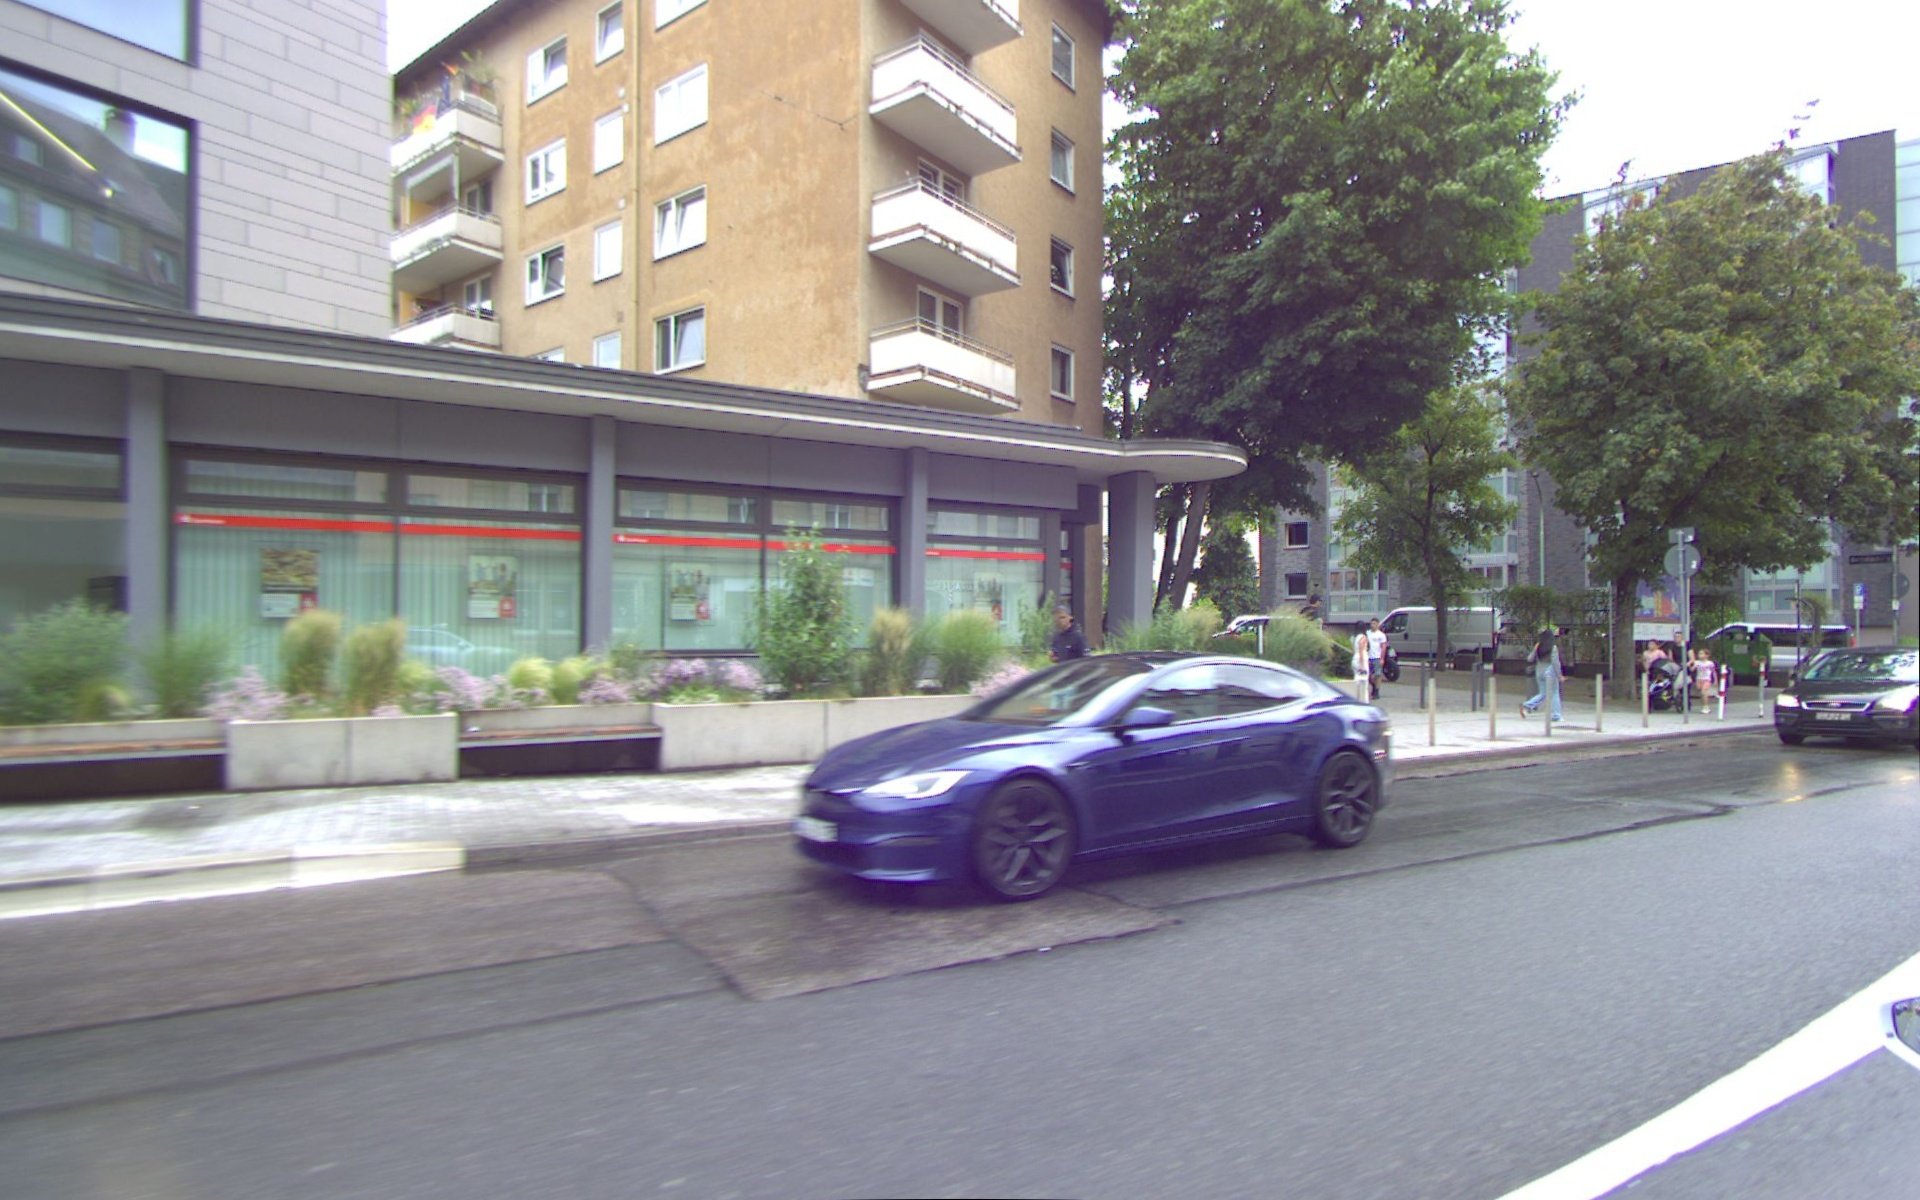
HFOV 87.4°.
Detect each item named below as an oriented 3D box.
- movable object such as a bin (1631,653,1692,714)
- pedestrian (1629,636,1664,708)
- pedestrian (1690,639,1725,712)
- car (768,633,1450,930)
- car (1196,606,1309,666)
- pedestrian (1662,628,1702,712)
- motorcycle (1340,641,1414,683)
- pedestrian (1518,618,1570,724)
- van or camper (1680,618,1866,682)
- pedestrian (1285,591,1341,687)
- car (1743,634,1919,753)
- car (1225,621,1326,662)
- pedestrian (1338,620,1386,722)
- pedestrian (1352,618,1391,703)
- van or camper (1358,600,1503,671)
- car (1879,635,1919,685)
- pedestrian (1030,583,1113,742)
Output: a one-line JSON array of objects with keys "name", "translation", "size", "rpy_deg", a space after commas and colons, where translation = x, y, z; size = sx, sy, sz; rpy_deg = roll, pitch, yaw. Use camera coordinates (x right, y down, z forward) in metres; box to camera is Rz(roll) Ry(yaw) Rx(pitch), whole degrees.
[{"name": "movable object such as a bin", "translation": [14.177, 1.675, 20.309], "size": [0.955, 1.149, 0.699], "rpy_deg": [1, 0, -34]}, {"name": "pedestrian", "translation": [14.570, 1.518, 21.322], "size": [0.525, 1.493, 0.457], "rpy_deg": [1, -1, -34]}, {"name": "pedestrian", "translation": [15.066, 1.514, 20.244], "size": [0.476, 1.429, 0.430], "rpy_deg": [1, -1, -34]}, {"name": "car", "translation": [1.242, 1.043, 7.377], "size": [4.858, 1.531, 1.945], "rpy_deg": [1, -4, -32]}, {"name": "car", "translation": [11.671, 1.407, 40.116], "size": [3.931, 2.285, 1.995], "rpy_deg": [-1, -2, 32]}, {"name": "pedestrian", "translation": [14.866, 1.420, 20.682], "size": [0.547, 1.695, 0.494], "rpy_deg": [1, -1, -34]}, {"name": "motorcycle", "translation": [11.569, 1.705, 27.936], "size": [0.783, 1.001, 2.052], "rpy_deg": [1, 1, -15]}, {"name": "pedestrian", "translation": [10.557, 1.256, 18.148], "size": [0.712, 1.850, 0.851], "rpy_deg": [0, 0, 37]}, {"name": "van or camper", "translation": [28.801, 1.710, 35.809], "size": [4.880, 2.040, 1.996], "rpy_deg": [1, 0, 31]}, {"name": "pedestrian", "translation": [7.038, 0.766, 20.045], "size": [0.690, 1.869, 0.851], "rpy_deg": [1, -1, -44]}, {"name": "car", "translation": [13.904, 1.298, 15.198], "size": [4.197, 1.577, 1.944], "rpy_deg": [1, -2, -32]}, {"name": "car", "translation": [14.181, 1.827, 45.189], "size": [3.933, 1.750, 1.994], "rpy_deg": [-1, -2, 35]}, {"name": "pedestrian", "translation": [7.268, 1.261, 18.146], "size": [0.646, 1.782, 0.718], "rpy_deg": [0, -1, 36]}, {"name": "pedestrian", "translation": [9.330, 1.350, 22.763], "size": [0.711, 1.850, 0.720], "rpy_deg": [0, 0, 32]}, {"name": "van or camper", "translation": [17.091, 1.237, 36.527], "size": [4.537, 2.297, 2.207], "rpy_deg": [2, 1, 31]}, {"name": "car", "translation": [33.170, 2.019, 33.355], "size": [3.523, 1.590, 1.739], "rpy_deg": [1, 0, 27]}, {"name": "pedestrian", "translation": [1.353, 0.735, 12.194], "size": [0.713, 1.850, 0.718], "rpy_deg": [0, 0, 41]}]
